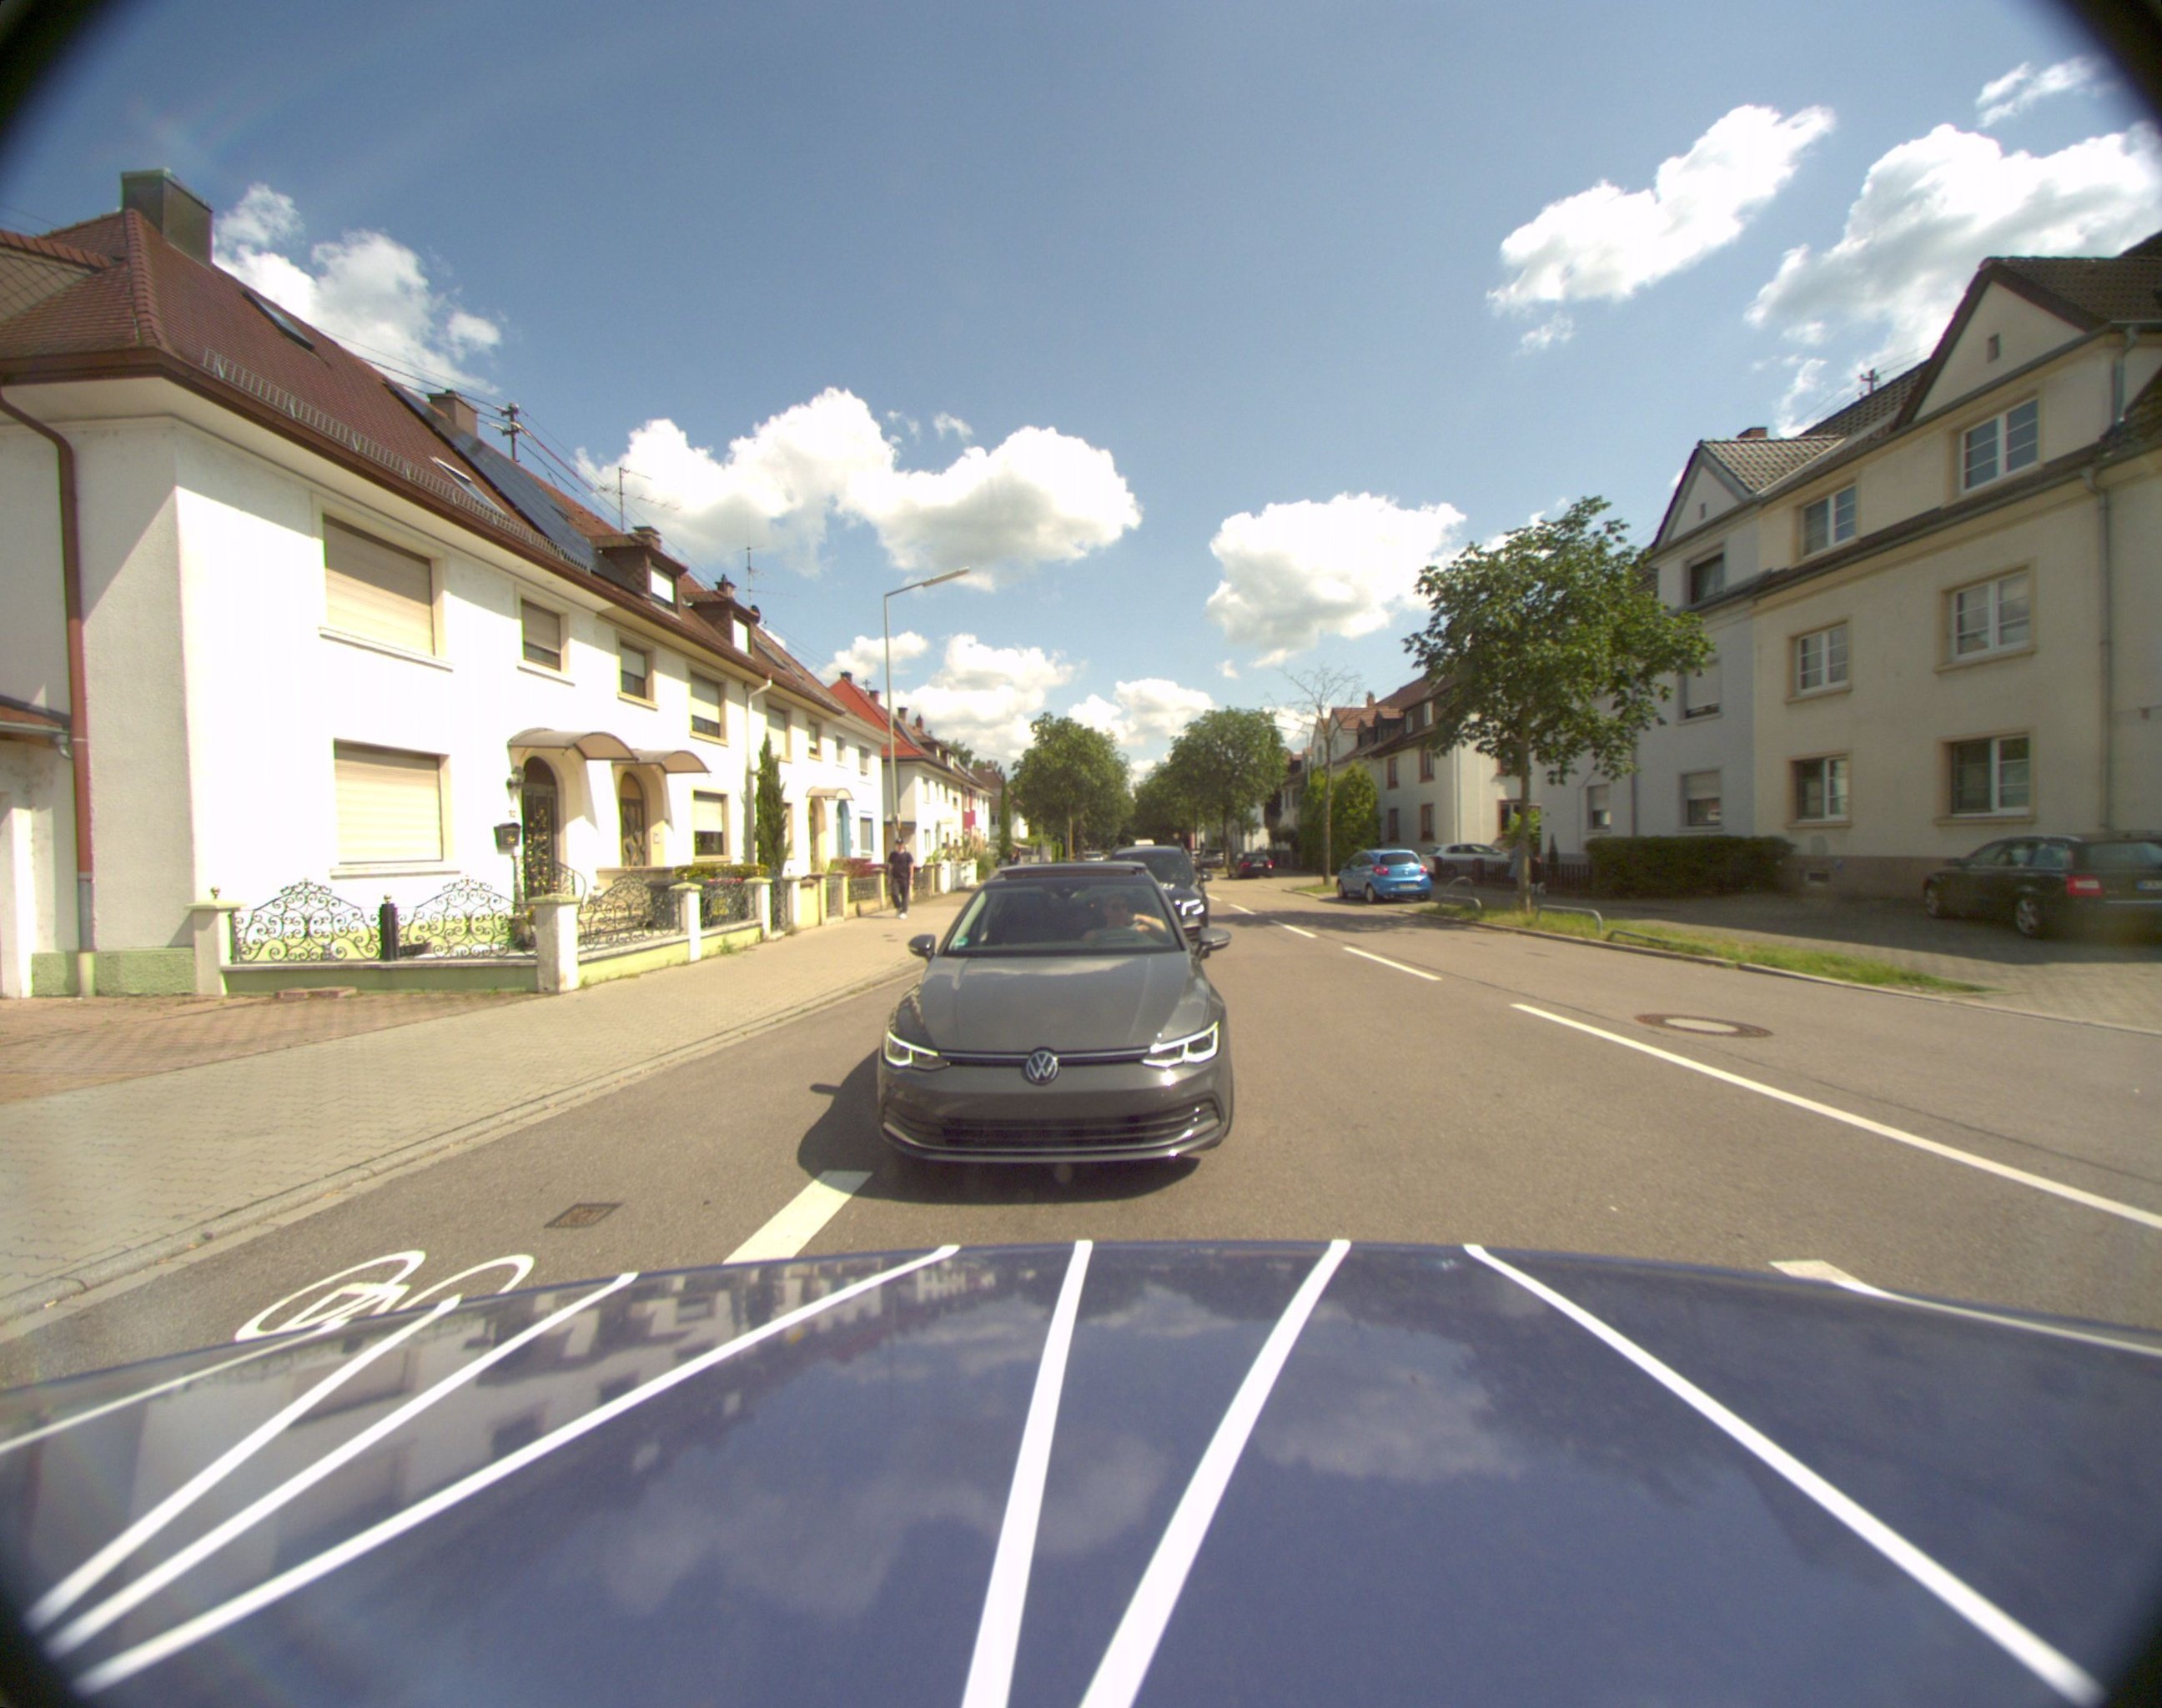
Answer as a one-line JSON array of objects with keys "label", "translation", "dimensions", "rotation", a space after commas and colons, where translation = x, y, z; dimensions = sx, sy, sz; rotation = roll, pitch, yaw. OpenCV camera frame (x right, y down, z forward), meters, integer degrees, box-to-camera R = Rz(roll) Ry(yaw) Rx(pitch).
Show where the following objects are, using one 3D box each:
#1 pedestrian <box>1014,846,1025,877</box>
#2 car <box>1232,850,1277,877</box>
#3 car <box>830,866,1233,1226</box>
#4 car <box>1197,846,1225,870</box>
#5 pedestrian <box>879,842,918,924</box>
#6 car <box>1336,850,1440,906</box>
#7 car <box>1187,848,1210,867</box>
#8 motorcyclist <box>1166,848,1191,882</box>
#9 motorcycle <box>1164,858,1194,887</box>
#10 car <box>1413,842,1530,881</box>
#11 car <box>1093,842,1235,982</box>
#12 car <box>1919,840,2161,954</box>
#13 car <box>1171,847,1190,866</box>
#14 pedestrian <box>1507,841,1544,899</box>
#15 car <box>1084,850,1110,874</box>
[{"label": "pedestrian", "translation": [-3.410, 0.404, 42.088], "dimensions": [0.519, 1.701, 0.618], "rotation": [-1, 1, 2]}, {"label": "car", "translation": [8.955, 0.467, 39.469], "dimensions": [1.709, 1.289, 3.918], "rotation": [-1, 0, 4]}, {"label": "car", "translation": [-0.251, 0.894, 5.734], "dimensions": [1.766, 1.465, 4.686], "rotation": [-1, 0, -1]}, {"label": "car", "translation": [9.122, 0.261, 53.411], "dimensions": [1.562, 1.645, 3.574], "rotation": [-1, 0, 4]}, {"label": "pedestrian", "translation": [-4.010, 0.622, 16.765], "dimensions": [0.592, 1.757, 0.937], "rotation": [-1, 1, 1]}, {"label": "car", "translation": [8.626, 0.626, 21.632], "dimensions": [1.709, 1.454, 3.154], "rotation": [-1, 0, 1]}, {"label": "car", "translation": [9.131, 0.280, 59.436], "dimensions": [1.623, 1.417, 3.002], "rotation": [-2, 0, 6]}, {"label": "motorcyclist", "translation": [4.159, 0.493, 32.471], "dimensions": [0.825, 1.390, 1.100], "rotation": [-3, -2, -2]}, {"label": "motorcycle", "translation": [4.147, 0.754, 32.222], "dimensions": [0.843, 1.121, 2.358], "rotation": [-1, 0, -3]}, {"label": "car", "translation": [15.636, 0.290, 30.561], "dimensions": [3.805, 1.446, 1.711], "rotation": [-1, 1, 4]}, {"label": "car", "translation": [1.114, 0.723, 12.091], "dimensions": [1.776, 1.754, 4.874], "rotation": [-1, 0, 1]}, {"label": "car", "translation": [14.243, 0.501, 10.972], "dimensions": [1.757, 1.378, 4.110], "rotation": [-1, 1, 31]}, {"label": "car", "translation": [8.943, 0.226, 68.479], "dimensions": [1.562, 1.645, 3.252], "rotation": [-1, 0, 4]}, {"label": "pedestrian", "translation": [12.011, 0.428, 20.532], "dimensions": [0.632, 1.527, 0.618], "rotation": [-1, 1, -2]}, {"label": "car", "translation": [1.077, 0.483, 49.941], "dimensions": [1.381, 1.493, 3.002], "rotation": [-2, 0, 6]}]
